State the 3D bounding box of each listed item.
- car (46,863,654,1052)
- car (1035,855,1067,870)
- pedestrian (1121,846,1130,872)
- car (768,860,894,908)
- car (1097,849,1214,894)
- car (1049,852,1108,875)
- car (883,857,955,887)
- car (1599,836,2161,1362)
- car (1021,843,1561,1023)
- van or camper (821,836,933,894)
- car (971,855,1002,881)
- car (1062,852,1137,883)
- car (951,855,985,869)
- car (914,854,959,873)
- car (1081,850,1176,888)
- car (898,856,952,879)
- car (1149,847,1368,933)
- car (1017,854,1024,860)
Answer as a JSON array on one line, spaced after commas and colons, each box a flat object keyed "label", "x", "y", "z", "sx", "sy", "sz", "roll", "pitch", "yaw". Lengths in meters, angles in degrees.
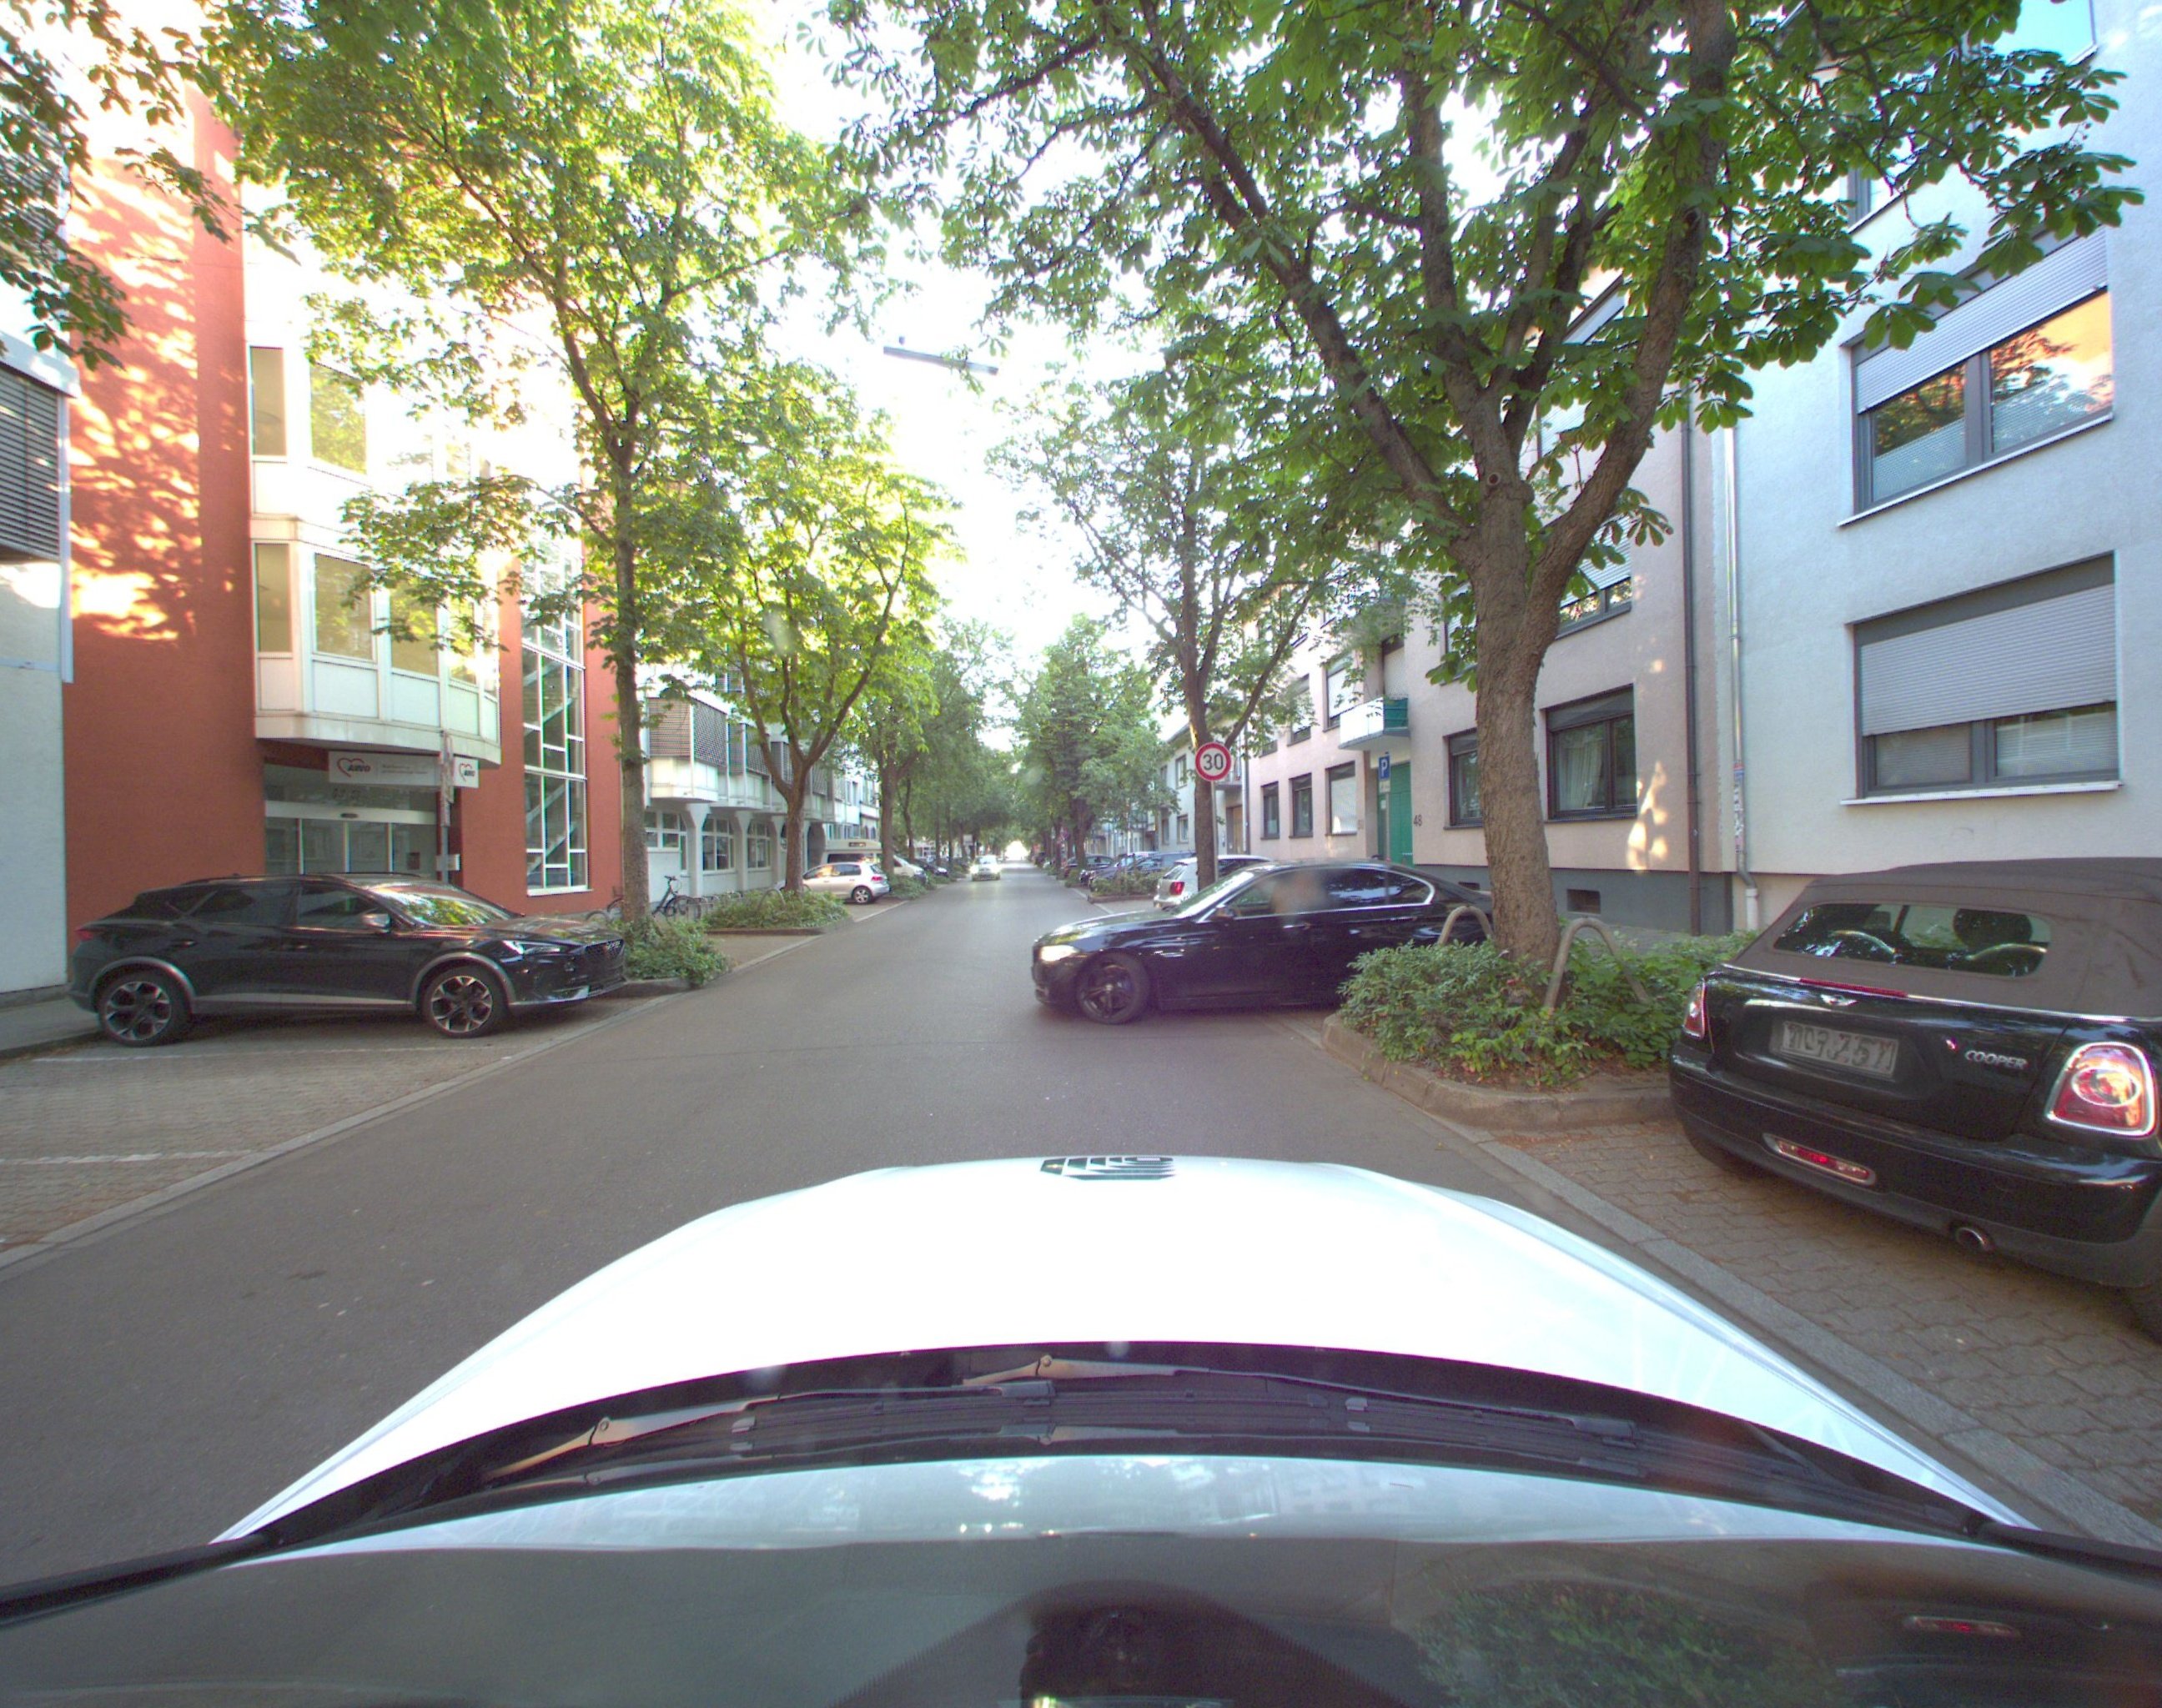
[{"label": "car", "x": -7.024, "y": 0.928, "z": 8.276, "sx": 4.347, "sy": 1.517, "sz": 1.782, "roll": -2, "pitch": 0, "yaw": -5}, {"label": "car", "x": -3.731, "y": 1.047, "z": 101.057, "sx": 3.959, "sy": 1.684, "sz": 1.783, "roll": -2, "pitch": 0, "yaw": -4}, {"label": "pedestrian", "x": 3.450, "y": 0.362, "z": 63.639, "sx": 0.587, "sy": 2.013, "sz": 0.669, "roll": -1, "pitch": 0, "yaw": -3}, {"label": "car", "x": -8.849, "y": 1.047, "z": 29.087, "sx": 3.960, "sy": 1.517, "sz": 1.783, "roll": -2, "pitch": 0, "yaw": -4}, {"label": "car", "x": 2.682, "y": 0.626, "z": 29.750, "sx": 3.963, "sy": 1.476, "sz": 1.781, "roll": -2, "pitch": 0, "yaw": -7}, {"label": "car", "x": -0.178, "y": 0.653, "z": 56.991, "sx": 3.963, "sy": 1.527, "sz": 1.781, "roll": -2, "pitch": 0, "yaw": -6}, {"label": "car", "x": -9.597, "y": 1.039, "z": 48.424, "sx": 3.960, "sy": 1.619, "sz": 1.783, "roll": -2, "pitch": 0, "yaw": -4}, {"label": "car", "x": 4.346, "y": 0.629, "z": 3.272, "sx": 3.608, "sy": 1.363, "sz": 1.660, "roll": -2, "pitch": 0, "yaw": -8}, {"label": "car", "x": 1.881, "y": 0.699, "z": 8.119, "sx": 4.727, "sy": 1.480, "sz": 1.801, "roll": -2, "pitch": 0, "yaw": 1}, {"label": "van or camper", "x": -9.295, "y": 0.480, "z": 37.421, "sx": 4.656, "sy": 2.478, "sz": 1.997, "roll": -2, "pitch": 0, "yaw": -5}, {"label": "car", "x": -6.153, "y": 0.897, "z": 53.426, "sx": 1.775, "sy": 1.562, "sz": 4.162, "roll": -1, "pitch": 0, "yaw": -4}, {"label": "car", "x": 1.014, "y": 0.737, "z": 45.087, "sx": 3.962, "sy": 1.527, "sz": 1.782, "roll": -2, "pitch": 0, "yaw": -5}, {"label": "car", "x": -14.233, "y": 1.029, "z": 102.710, "sx": 3.959, "sy": 1.619, "sz": 1.783, "roll": -2, "pitch": 0, "yaw": -4}, {"label": "car", "x": -13.560, "y": 0.861, "z": 76.623, "sx": 3.959, "sy": 1.619, "sz": 1.783, "roll": -2, "pitch": 0, "yaw": -4}, {"label": "car", "x": 2.074, "y": 0.661, "z": 36.246, "sx": 3.962, "sy": 1.527, "sz": 1.782, "roll": -2, "pitch": 0, "yaw": -5}, {"label": "car", "x": -12.401, "y": 1.064, "z": 64.970, "sx": 3.959, "sy": 1.619, "sz": 1.783, "roll": -2, "pitch": 0, "yaw": -4}, {"label": "car", "x": 3.428, "y": 0.670, "z": 16.122, "sx": 3.904, "sy": 1.476, "sz": 1.661, "roll": -2, "pitch": 0, "yaw": -7}, {"label": "car", "x": -16.026, "y": 0.825, "z": 216.579, "sx": 1.819, "sy": 1.531, "sz": 3.995, "roll": -1, "pitch": 0, "yaw": -4}]
